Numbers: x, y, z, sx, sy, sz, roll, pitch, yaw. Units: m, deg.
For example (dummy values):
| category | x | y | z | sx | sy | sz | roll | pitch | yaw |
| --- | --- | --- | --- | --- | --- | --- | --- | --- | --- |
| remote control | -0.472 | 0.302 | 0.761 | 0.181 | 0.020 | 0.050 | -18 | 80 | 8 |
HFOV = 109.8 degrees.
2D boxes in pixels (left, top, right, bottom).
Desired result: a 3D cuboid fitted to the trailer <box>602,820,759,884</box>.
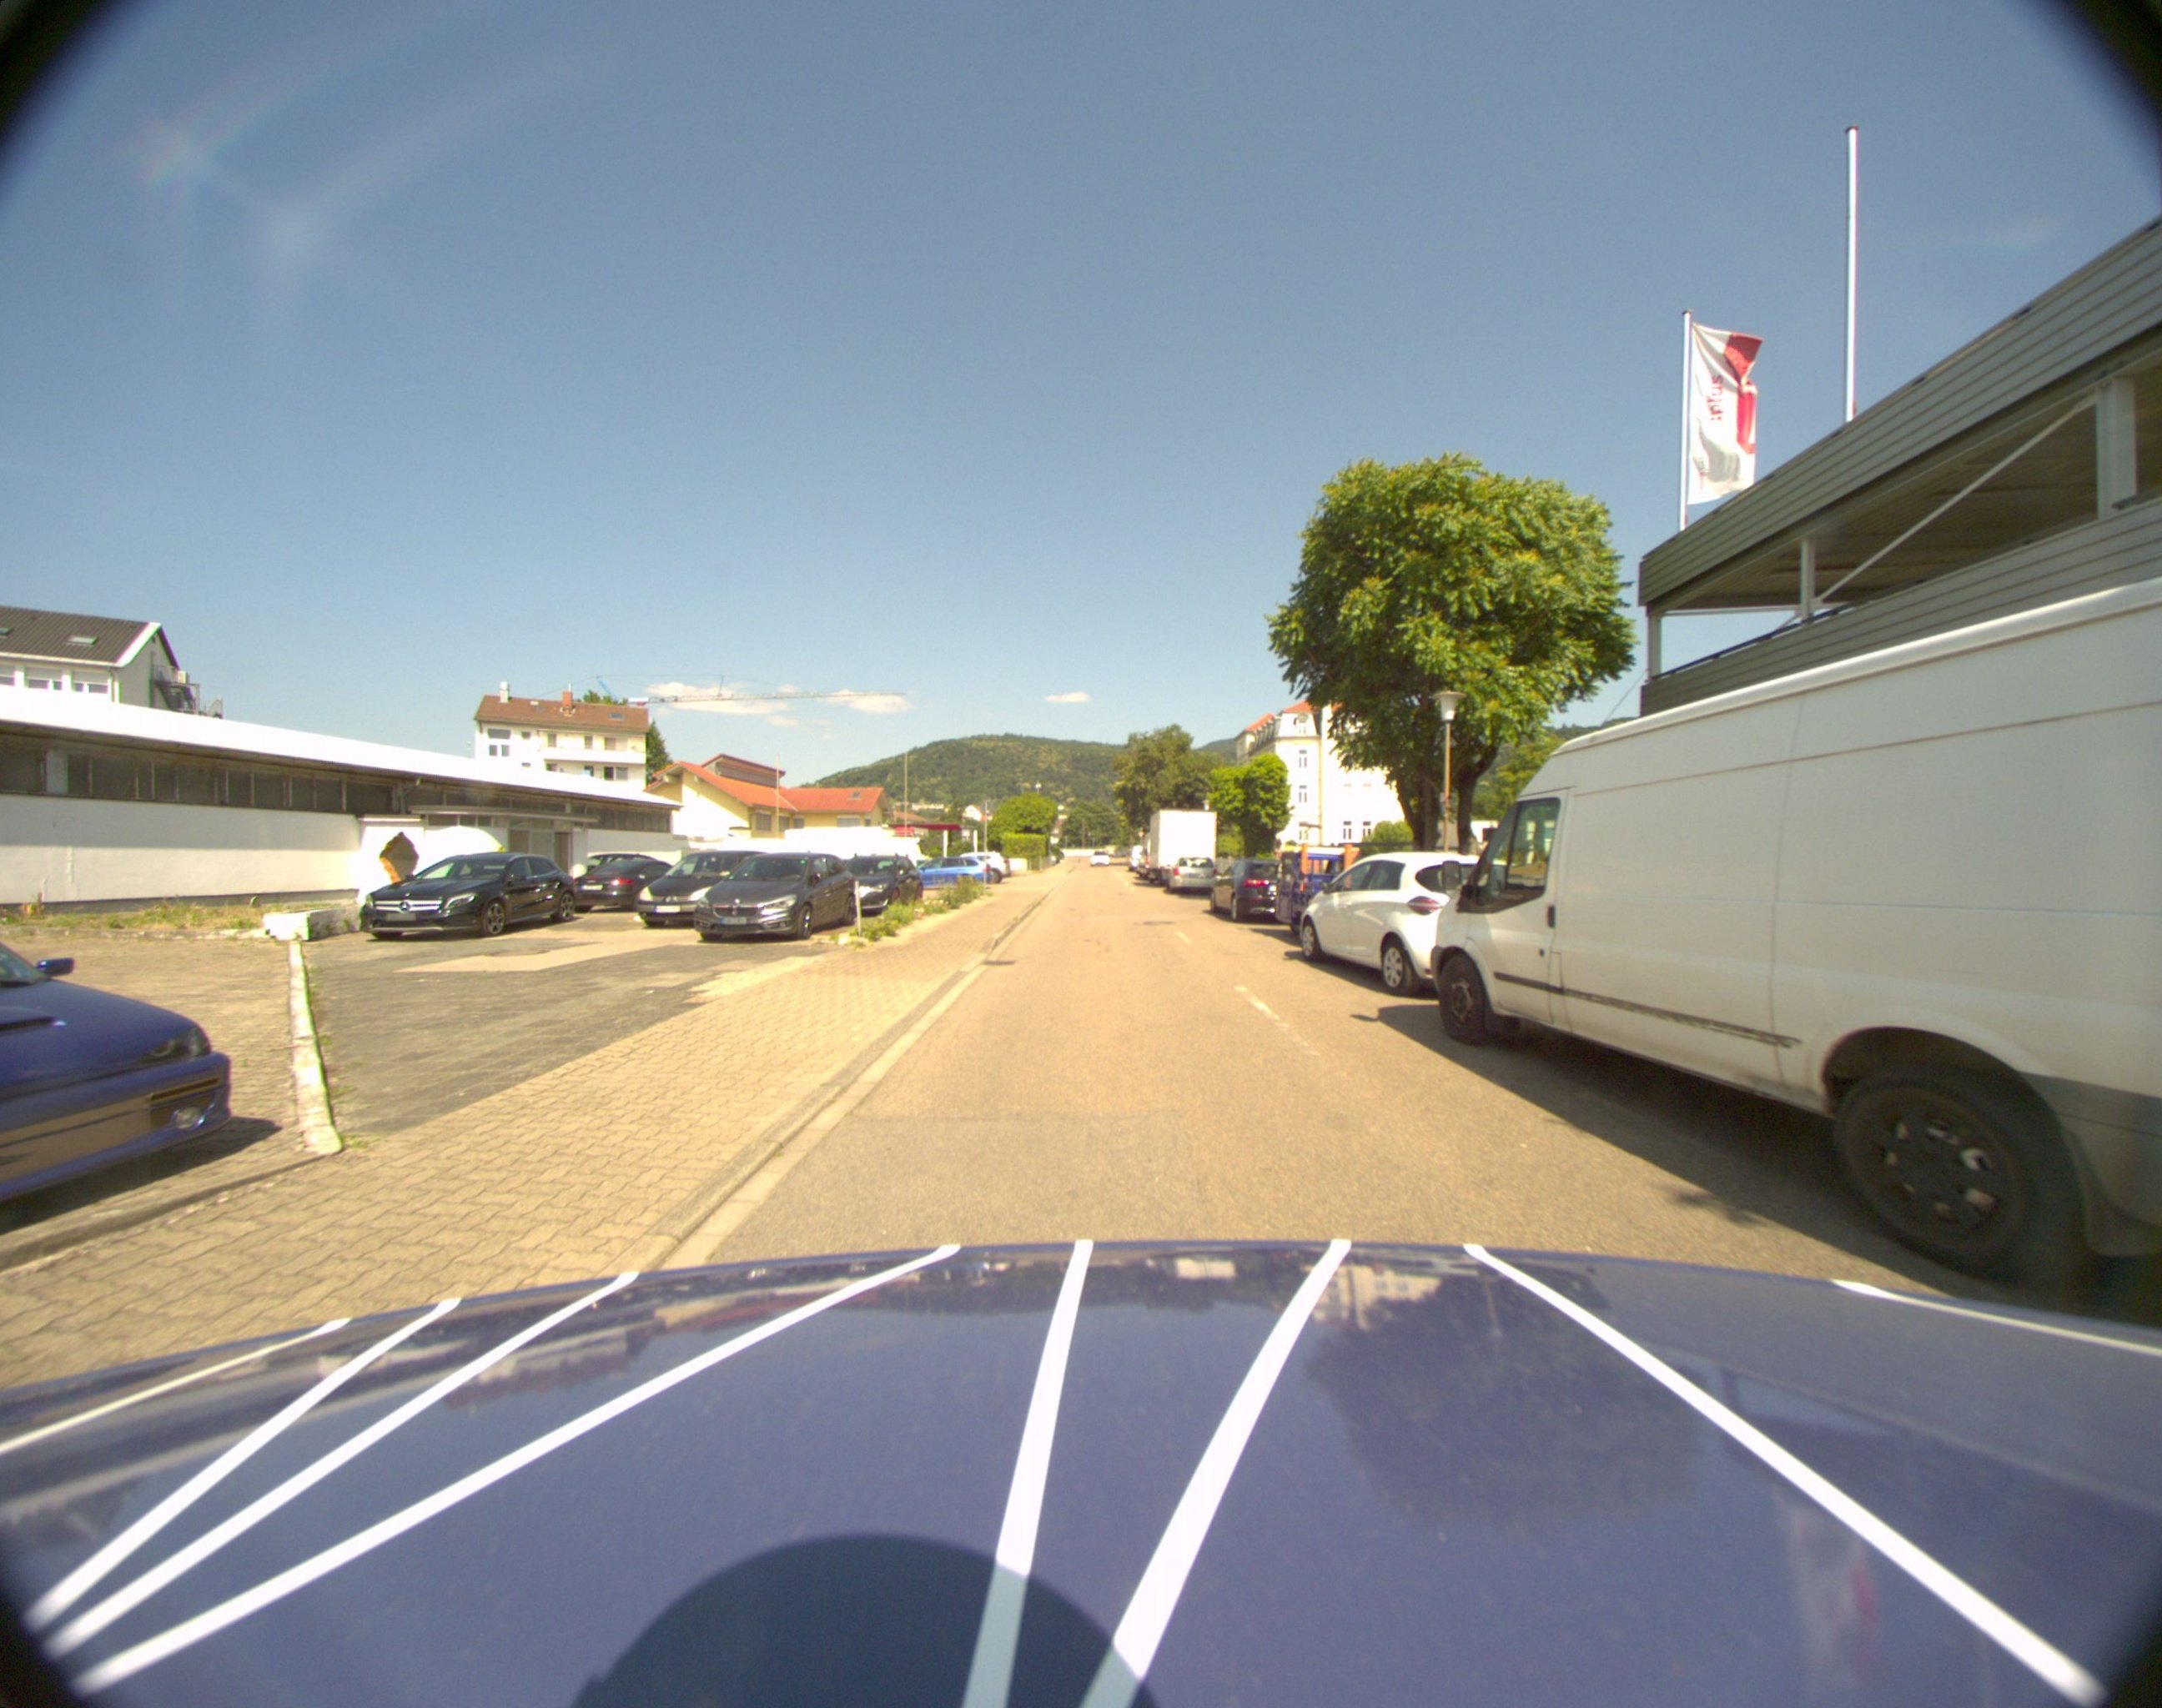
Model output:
| category | x | y | z | sx | sy | sz | roll | pitch | yaw |
| --- | --- | --- | --- | --- | --- | --- | --- | --- | --- |
| trailer | -24.938 | -0.155 | 47.554 | 8.350 | 3.841 | 3.068 | 0 | 1 | 6 |

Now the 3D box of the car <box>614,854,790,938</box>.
| category | x | y | z | sx | sy | sz | roll | pitch | yaw |
| --- | --- | --- | --- | --- | --- | --- | --- | --- | --- |
| car | -8.045 | 0.814 | 16.520 | 1.763 | 1.585 | 3.620 | -1 | 0 | 4 |

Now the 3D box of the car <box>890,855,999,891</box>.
| category | x | y | z | sx | sy | sz | roll | pitch | yaw |
| --- | --- | --- | --- | --- | --- | --- | --- | --- | --- |
| car | -5.936 | 0.820 | 33.411 | 4.363 | 1.433 | 1.892 | -2 | 0 | 0 |

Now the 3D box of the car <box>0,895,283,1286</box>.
| category | x | y | z | sx | sy | sz | roll | pitch | yaw |
| --- | --- | --- | --- | --- | --- | --- | --- | --- | --- |
| car | -5.578 | 0.882 | 2.929 | 3.261 | 1.390 | 1.674 | 0 | -1 | 1 |

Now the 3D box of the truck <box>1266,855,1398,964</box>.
| category | x | y | z | sx | sy | sz | roll | pitch | yaw |
| --- | --- | --- | --- | --- | --- | --- | --- | --- | --- |
| truck | 4.221 | 0.855 | 13.210 | 1.141 | 1.613 | 3.140 | 2 | 0 | -1 |

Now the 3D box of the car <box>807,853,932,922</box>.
| category | x | y | z | sx | sy | sz | roll | pitch | yaw |
| --- | --- | --- | --- | --- | --- | --- | --- | --- | --- |
| car | -5.344 | 0.770 | 19.947 | 1.863 | 1.558 | 4.951 | 0 | 0 | 0 |

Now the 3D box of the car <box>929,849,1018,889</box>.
| category | x | y | z | sx | sy | sz | roll | pitch | yaw |
| --- | --- | --- | --- | --- | --- | --- | --- | --- | --- |
| car | -5.515 | 0.765 | 39.247 | 4.211 | 1.672 | 1.766 | -4 | 1 | 0 |

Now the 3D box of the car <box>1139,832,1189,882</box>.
| category | x | y | z | sx | sy | sz | roll | pitch | yaw |
| --- | --- | --- | --- | --- | --- | --- | --- | --- | --- |
| car | 4.580 | 0.105 | 43.105 | 2.173 | 2.581 | 6.919 | 1 | 1 | 1 |

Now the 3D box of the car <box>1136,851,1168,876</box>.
| category | x | y | z | sx | sy | sz | roll | pitch | yaw |
| --- | --- | --- | --- | --- | --- | --- | --- | --- | --- |
| car | 4.797 | 0.627 | 52.139 | 1.718 | 1.535 | 4.399 | 1 | 1 | 0 |

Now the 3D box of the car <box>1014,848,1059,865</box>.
| category | x | y | z | sx | sy | sz | roll | pitch | yaw |
| --- | --- | --- | --- | --- | --- | --- | --- | --- | --- |
| car | -4.468 | 0.284 | 77.161 | 4.414 | 1.518 | 1.897 | 2 | -1 | -1 |

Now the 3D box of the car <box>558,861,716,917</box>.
| category | x | y | z | sx | sy | sz | roll | pitch | yaw |
| --- | --- | --- | --- | --- | --- | --- | --- | --- | --- |
| car | -11.747 | 0.863 | 20.453 | 1.645 | 1.317 | 4.101 | 0 | 0 | 4 |

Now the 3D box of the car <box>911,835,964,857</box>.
| category | x | y | z | sx | sy | sz | roll | pitch | yaw |
| --- | --- | --- | --- | --- | --- | --- | --- | --- | --- |
| car | -17.518 | -0.943 | 92.574 | 6.025 | 2.663 | 2.255 | 0 | 1 | -22 |

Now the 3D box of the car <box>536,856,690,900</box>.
| category | x | y | z | sx | sy | sz | roll | pitch | yaw |
| --- | --- | --- | --- | --- | --- | --- | --- | --- | --- |
| car | -15.579 | 0.727 | 25.547 | 1.711 | 1.317 | 4.193 | 0 | 0 | 22 |

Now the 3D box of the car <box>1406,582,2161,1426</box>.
| category | x | y | z | sx | sy | sz | roll | pitch | yaw |
| --- | --- | --- | --- | --- | --- | --- | --- | --- | --- |
| car | 3.998 | 0.427 | 4.224 | 2.010 | 2.352 | 5.228 | 2 | 0 | -1 |

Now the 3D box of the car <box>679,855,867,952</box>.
| category | x | y | z | sx | sy | sz | roll | pitch | yaw |
| --- | --- | --- | --- | --- | --- | --- | --- | --- | --- |
| car | -5.634 | 0.815 | 14.551 | 1.816 | 1.549 | 4.292 | 0 | 0 | 0 |

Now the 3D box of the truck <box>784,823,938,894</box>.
| category | x | y | z | sx | sy | sz | roll | pitch | yaw |
| --- | --- | --- | --- | --- | --- | --- | --- | --- | --- |
| truck | -12.072 | 0.246 | 42.110 | 7.536 | 3.403 | 2.527 | -3 | 1 | 1 |

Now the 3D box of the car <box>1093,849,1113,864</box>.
| category | x | y | z | sx | sy | sz | roll | pitch | yaw |
| --- | --- | --- | --- | --- | --- | --- | --- | --- | --- |
| car | 2.166 | 0.235 | 76.332 | 1.895 | 1.412 | 4.169 | 2 | 2 | 1 |

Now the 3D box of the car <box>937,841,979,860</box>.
| category | x | y | z | sx | sy | sz | roll | pitch | yaw |
| --- | --- | --- | --- | --- | --- | --- | --- | --- | --- |
| car | -14.513 | -0.461 | 89.758 | 4.566 | 2.138 | 1.928 | 1 | 1 | 19 |

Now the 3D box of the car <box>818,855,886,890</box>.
| category | x | y | z | sx | sy | sz | roll | pitch | yaw |
| --- | --- | --- | --- | --- | --- | --- | --- | --- | --- |
| car | -10.365 | 0.804 | 34.685 | 1.891 | 1.433 | 4.454 | 0 | 1 | -2 |

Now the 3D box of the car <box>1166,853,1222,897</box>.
| category | x | y | z | sx | sy | sz | roll | pitch | yaw |
| --- | --- | --- | --- | --- | --- | --- | --- | --- | --- |
| car | 4.244 | 0.729 | 29.030 | 1.745 | 1.512 | 4.311 | 1 | 0 | 4 |

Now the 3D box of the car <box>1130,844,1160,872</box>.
| category | x | y | z | sx | sy | sz | roll | pitch | yaw |
| --- | --- | --- | --- | --- | --- | --- | --- | --- | --- |
| car | 4.906 | 0.278 | 58.995 | 1.976 | 2.002 | 5.055 | 2 | 1 | 1 |

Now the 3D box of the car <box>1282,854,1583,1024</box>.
| category | x | y | z | sx | sy | sz | roll | pitch | yaw |
| --- | --- | --- | --- | --- | --- | --- | --- | --- | --- |
| car | 4.057 | 0.861 | 9.602 | 1.709 | 1.615 | 3.971 | 2 | 0 | -4 |

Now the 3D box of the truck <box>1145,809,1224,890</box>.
| category | x | y | z | sx | sy | sz | roll | pitch | yaw |
| --- | --- | --- | --- | --- | --- | --- | --- | --- | --- |
| truck | 4.624 | -0.250 | 35.390 | 2.692 | 3.347 | 7.128 | 1 | 1 | 0 |

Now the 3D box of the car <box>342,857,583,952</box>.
| category | x | y | z | sx | sy | sz | roll | pitch | yaw |
| --- | --- | --- | --- | --- | --- | --- | --- | --- | --- |
| car | -11.509 | 0.853 | 14.567 | 1.766 | 1.487 | 4.145 | 1 | 0 | -10 |

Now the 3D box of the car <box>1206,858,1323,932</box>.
| category | x | y | z | sx | sy | sz | roll | pitch | yaw |
| --- | --- | --- | --- | --- | --- | --- | --- | --- | --- |
| car | 4.179 | 0.878 | 17.966 | 1.709 | 1.454 | 4.113 | 1 | 1 | -1 |
